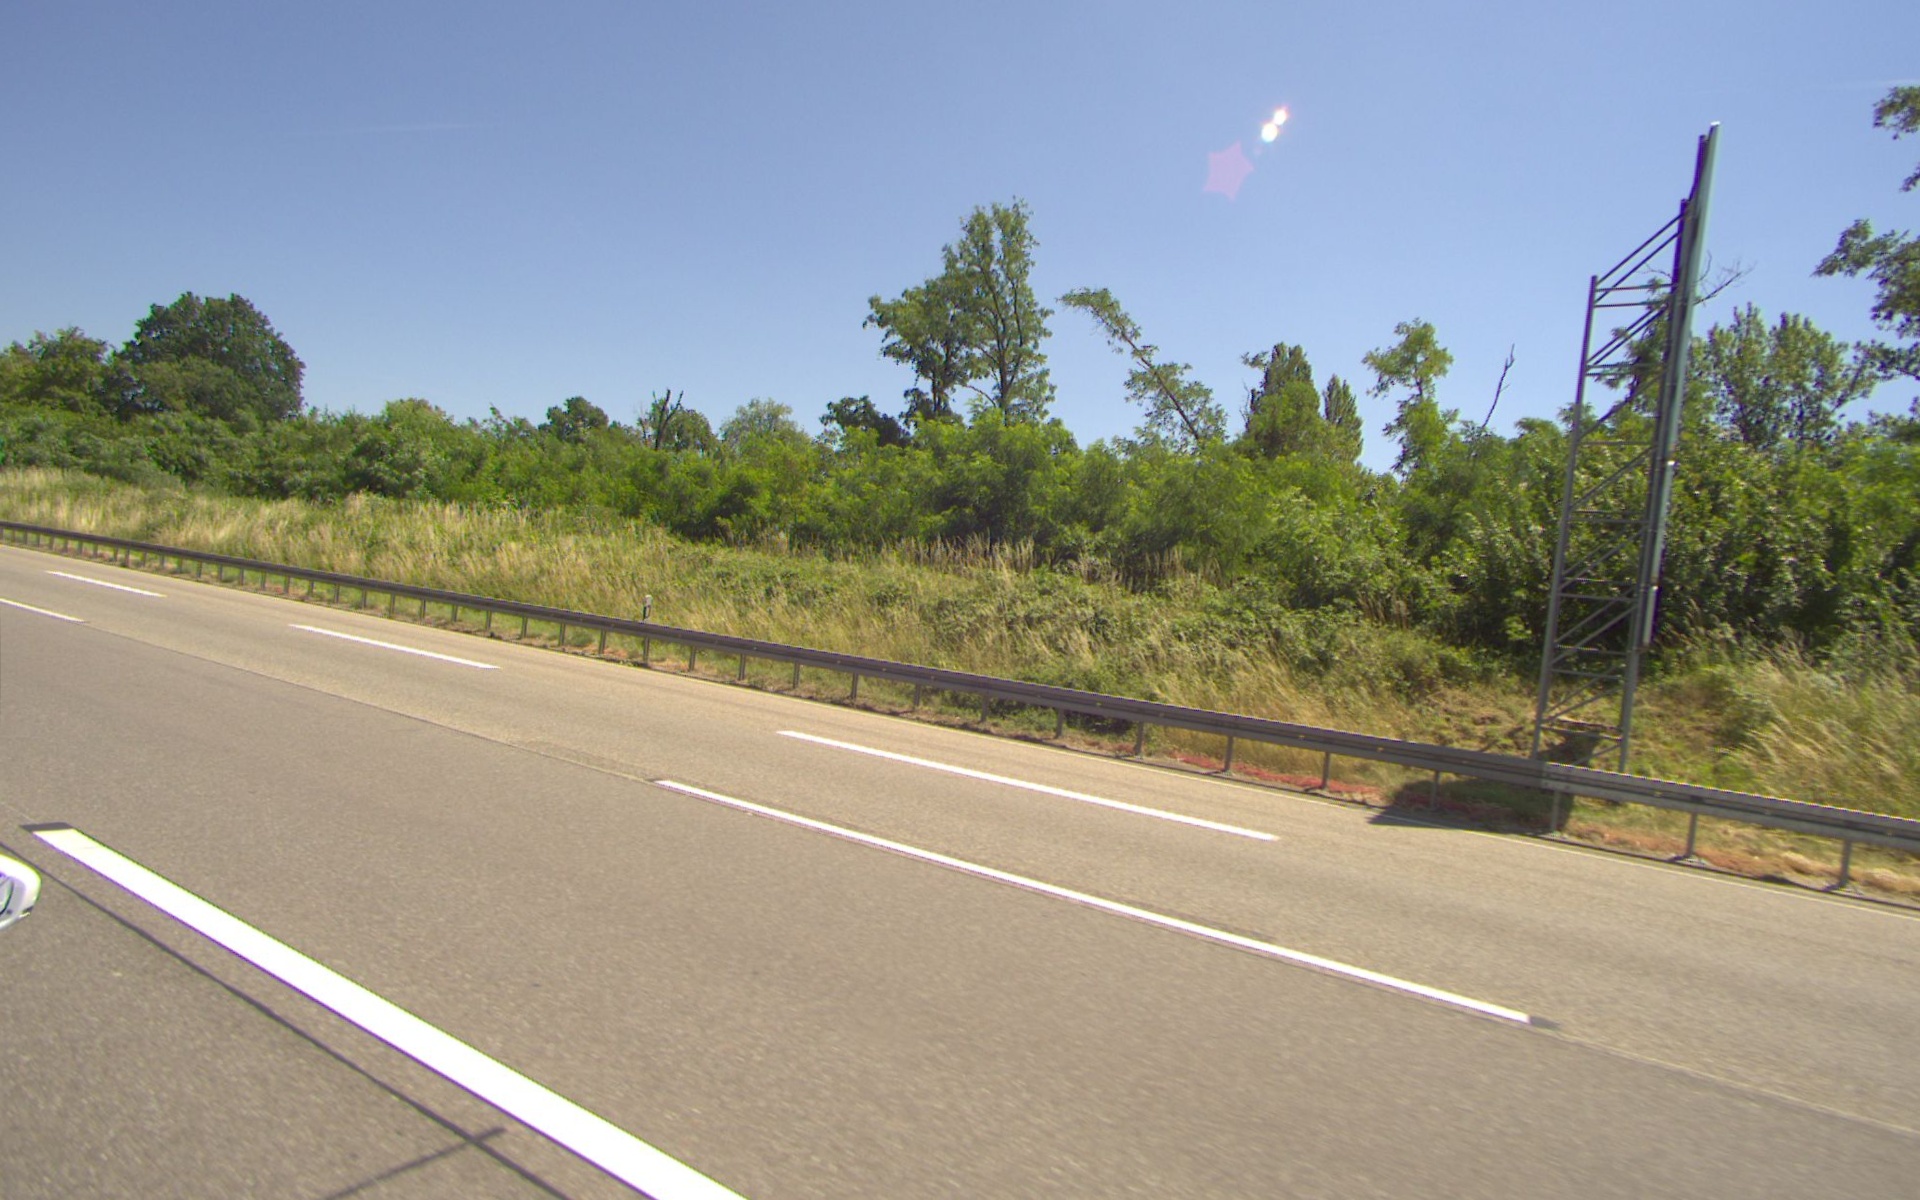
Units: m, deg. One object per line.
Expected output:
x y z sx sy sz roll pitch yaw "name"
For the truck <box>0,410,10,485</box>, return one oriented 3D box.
-30.117 -3.588 27.473 12.271 3.842 2.686 7 -2 32 "truck"
